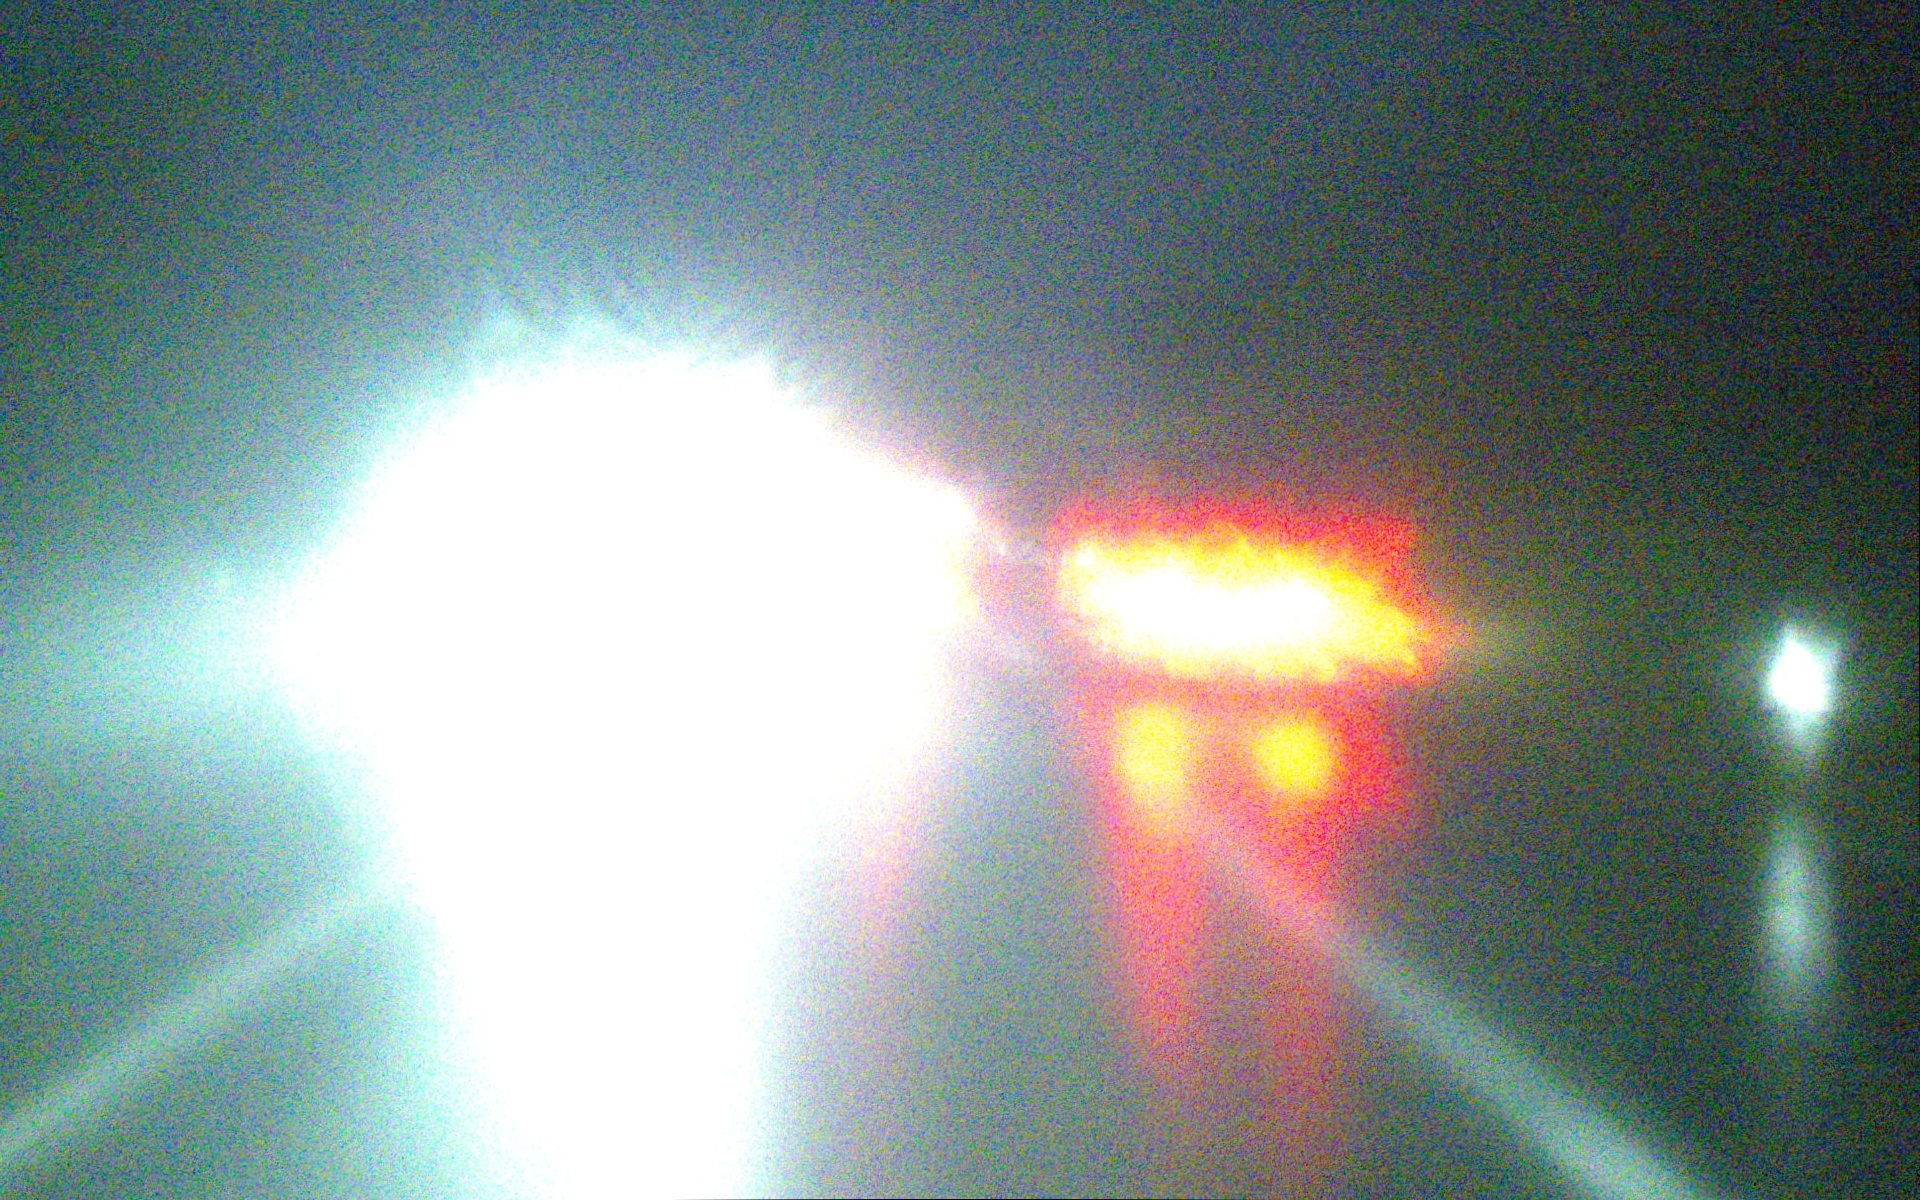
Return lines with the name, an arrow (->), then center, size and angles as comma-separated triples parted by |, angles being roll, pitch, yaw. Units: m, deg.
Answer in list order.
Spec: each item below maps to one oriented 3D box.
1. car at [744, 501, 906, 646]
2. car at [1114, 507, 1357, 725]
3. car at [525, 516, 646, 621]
car -> -1.597, -0.338, 40.653 | 1.808, 1.616, 4.001 | 0, 1, -2
car -> 2.673, 0.109, 34.256 | 2.093, 2.007, 4.000 | 1, 1, 0
car -> -6.076, -0.532, 55.449 | 1.808, 1.616, 4.001 | 0, 1, -8
